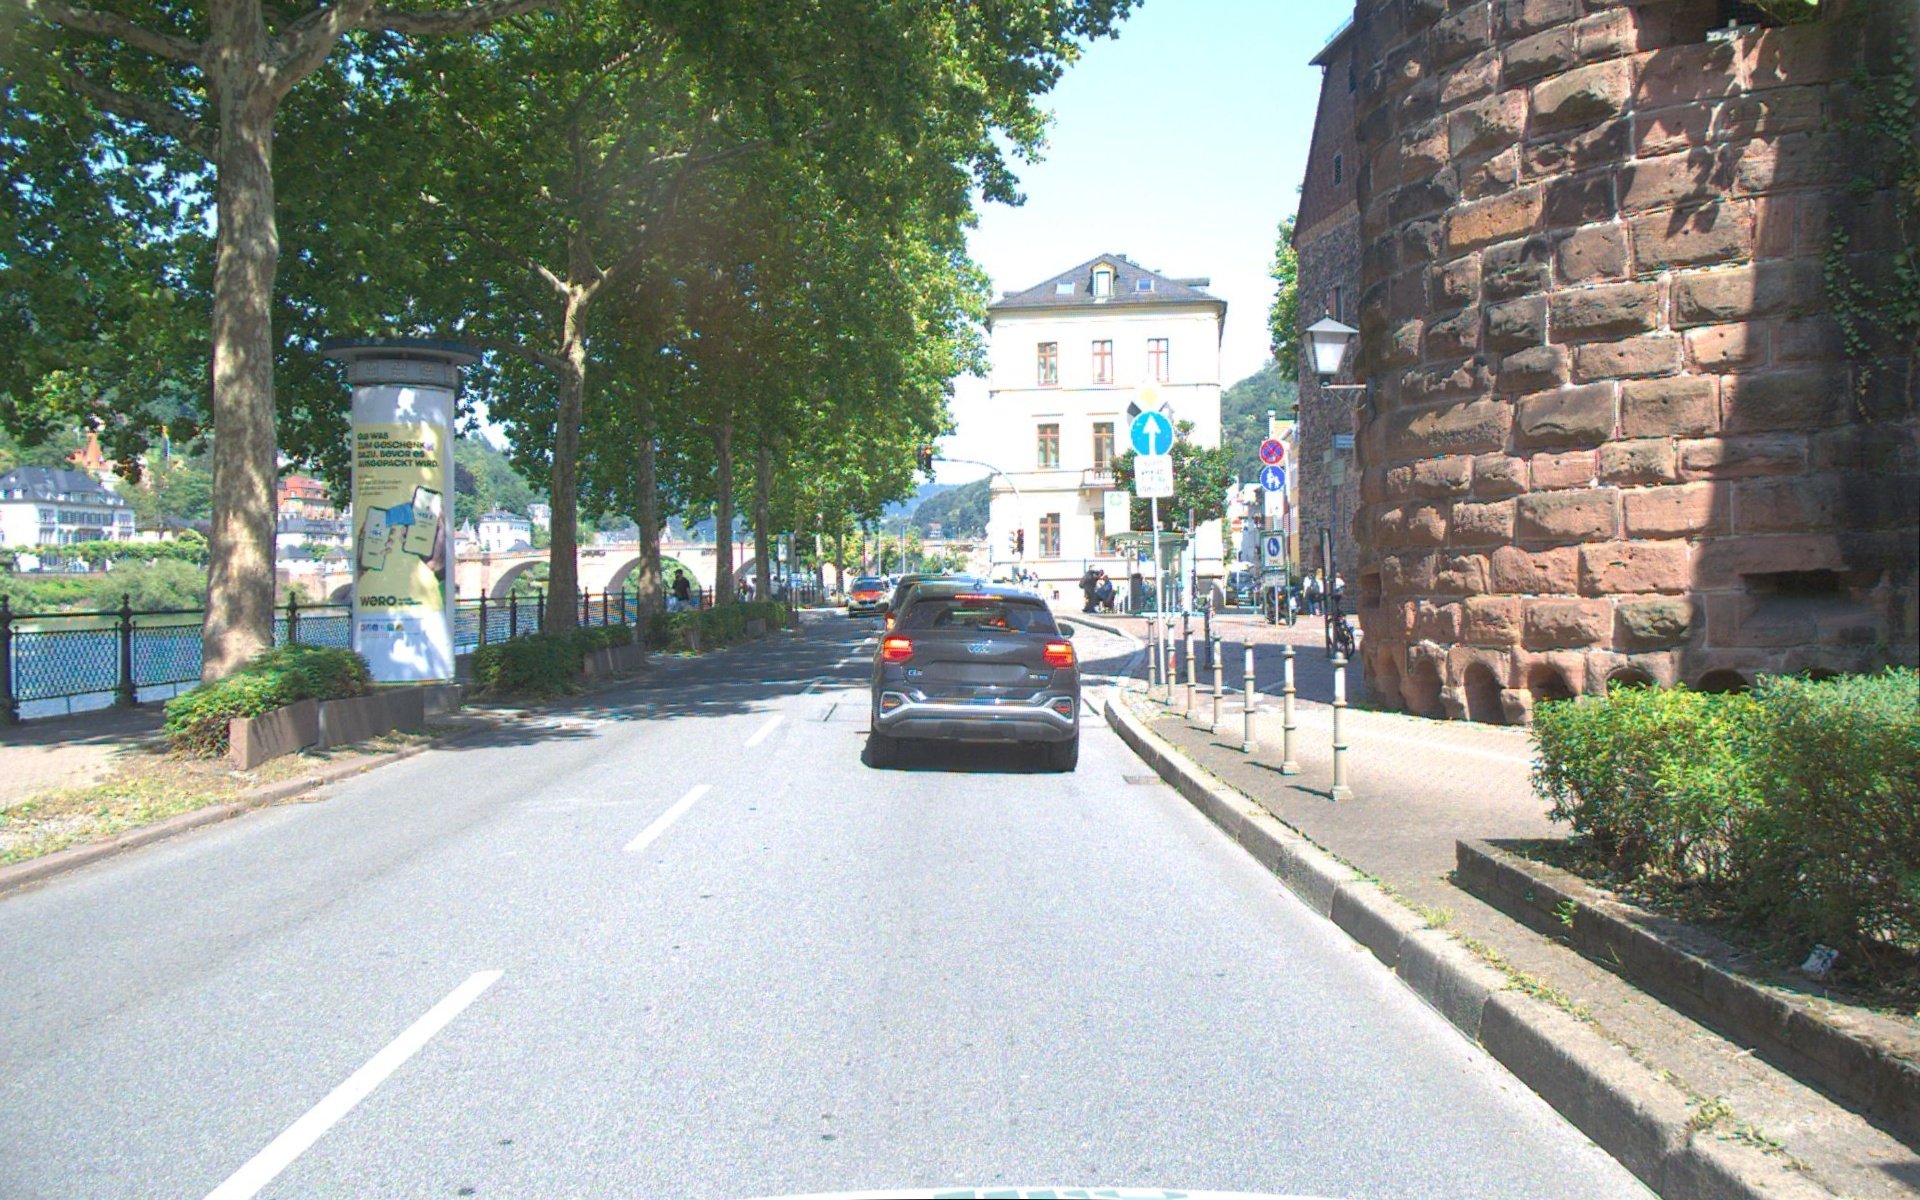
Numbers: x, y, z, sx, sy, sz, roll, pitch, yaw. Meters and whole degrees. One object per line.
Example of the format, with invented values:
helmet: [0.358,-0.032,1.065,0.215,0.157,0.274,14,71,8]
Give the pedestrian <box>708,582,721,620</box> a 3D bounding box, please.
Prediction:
pedestrian: [-10.325,0.026,69.534,0.488,1.564,0.679,-2,0,-8]

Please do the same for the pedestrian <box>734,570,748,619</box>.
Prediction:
pedestrian: [-8.951,-0.234,67.667,0.490,1.992,0.438,-2,0,-8]

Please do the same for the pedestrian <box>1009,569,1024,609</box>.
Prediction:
pedestrian: [2.285,-0.448,66.999,0.545,1.585,0.660,1,0,0]

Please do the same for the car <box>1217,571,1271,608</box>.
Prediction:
car: [14.119,-0.506,82.393,1.953,1.746,4.000,1,0,0]

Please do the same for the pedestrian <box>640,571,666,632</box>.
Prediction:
pedestrian: [-8.754,0.042,47.193,0.632,1.747,0.665,0,0,-3]

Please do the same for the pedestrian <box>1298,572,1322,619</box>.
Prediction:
pedestrian: [11.624,-0.153,54.969,0.644,1.519,0.548,1,0,1]

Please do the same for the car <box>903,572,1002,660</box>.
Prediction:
car: [-0.142,0.268,32.004,1.764,1.549,3.716,-1,1,0]

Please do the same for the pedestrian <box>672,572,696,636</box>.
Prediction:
pedestrian: [-7.878,0.109,47.239,0.552,1.772,0.665,-2,0,-4]

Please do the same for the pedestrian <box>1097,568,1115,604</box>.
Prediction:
pedestrian: [5.118,-0.484,57.979,0.535,1.222,0.522,1,0,0]

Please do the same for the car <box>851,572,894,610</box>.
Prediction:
car: [-3.808,-0.418,72.120,1.581,1.549,3.477,-2,1,1]

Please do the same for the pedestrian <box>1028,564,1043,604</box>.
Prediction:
pedestrian: [3.027,-0.653,66.396,0.545,1.585,0.660,1,0,0]

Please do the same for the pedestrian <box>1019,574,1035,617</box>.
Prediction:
pedestrian: [2.524,-0.174,62.307,0.545,1.585,0.660,1,0,0]

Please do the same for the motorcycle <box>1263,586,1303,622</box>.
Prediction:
motorcycle: [7.812,0.079,40.068,0.474,0.832,2.279,-2,1,0]

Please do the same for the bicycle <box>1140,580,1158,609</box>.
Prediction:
bicycle: [6.572,-0.200,57.454,0.441,0.991,1.399,1,0,0]

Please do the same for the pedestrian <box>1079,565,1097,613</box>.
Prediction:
pedestrian: [4.422,-0.377,57.160,0.545,1.661,0.660,1,0,0]

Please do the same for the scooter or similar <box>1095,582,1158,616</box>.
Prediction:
scooter or similar: [4.985,-0.033,49.448,1.808,0.980,0.429,1,0,-1]

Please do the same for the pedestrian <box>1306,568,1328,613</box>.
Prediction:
pedestrian: [12.495,-0.342,57.869,0.644,1.544,0.548,1,0,1]

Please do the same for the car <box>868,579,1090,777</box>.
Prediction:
car: [0.101,0.593,14.806,1.713,1.520,3.628,1,1,-2]

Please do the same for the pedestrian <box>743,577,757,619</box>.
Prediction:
pedestrian: [-8.450,-0.083,66.580,0.507,1.666,0.438,-2,0,-8]

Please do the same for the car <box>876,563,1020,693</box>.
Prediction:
car: [-0.157,0.331,22.735,1.764,1.589,3.716,-2,1,0]

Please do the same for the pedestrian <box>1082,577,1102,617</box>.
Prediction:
pedestrian: [5.188,-0.123,65.046,0.731,1.585,0.588,1,0,0]

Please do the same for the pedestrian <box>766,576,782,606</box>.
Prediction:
pedestrian: [-8.257,-0.402,73.438,0.579,1.301,0.525,-2,0,-1]

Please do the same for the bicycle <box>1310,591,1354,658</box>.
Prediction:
bicycle: [6.016,0.379,26.799,0.485,1.048,2.052,-1,0,7]

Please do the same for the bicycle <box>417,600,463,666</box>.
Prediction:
bicycle: [-9.751,0.604,31.054,0.350,1.182,1.825,1,0,-3]

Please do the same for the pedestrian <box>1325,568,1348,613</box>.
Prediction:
pedestrian: [13.158,-0.324,57.858,0.644,1.544,0.627,1,0,1]

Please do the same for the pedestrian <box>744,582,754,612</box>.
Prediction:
pedestrian: [-10.120,-0.137,79.359,0.401,1.450,0.457,-2,0,-3]
